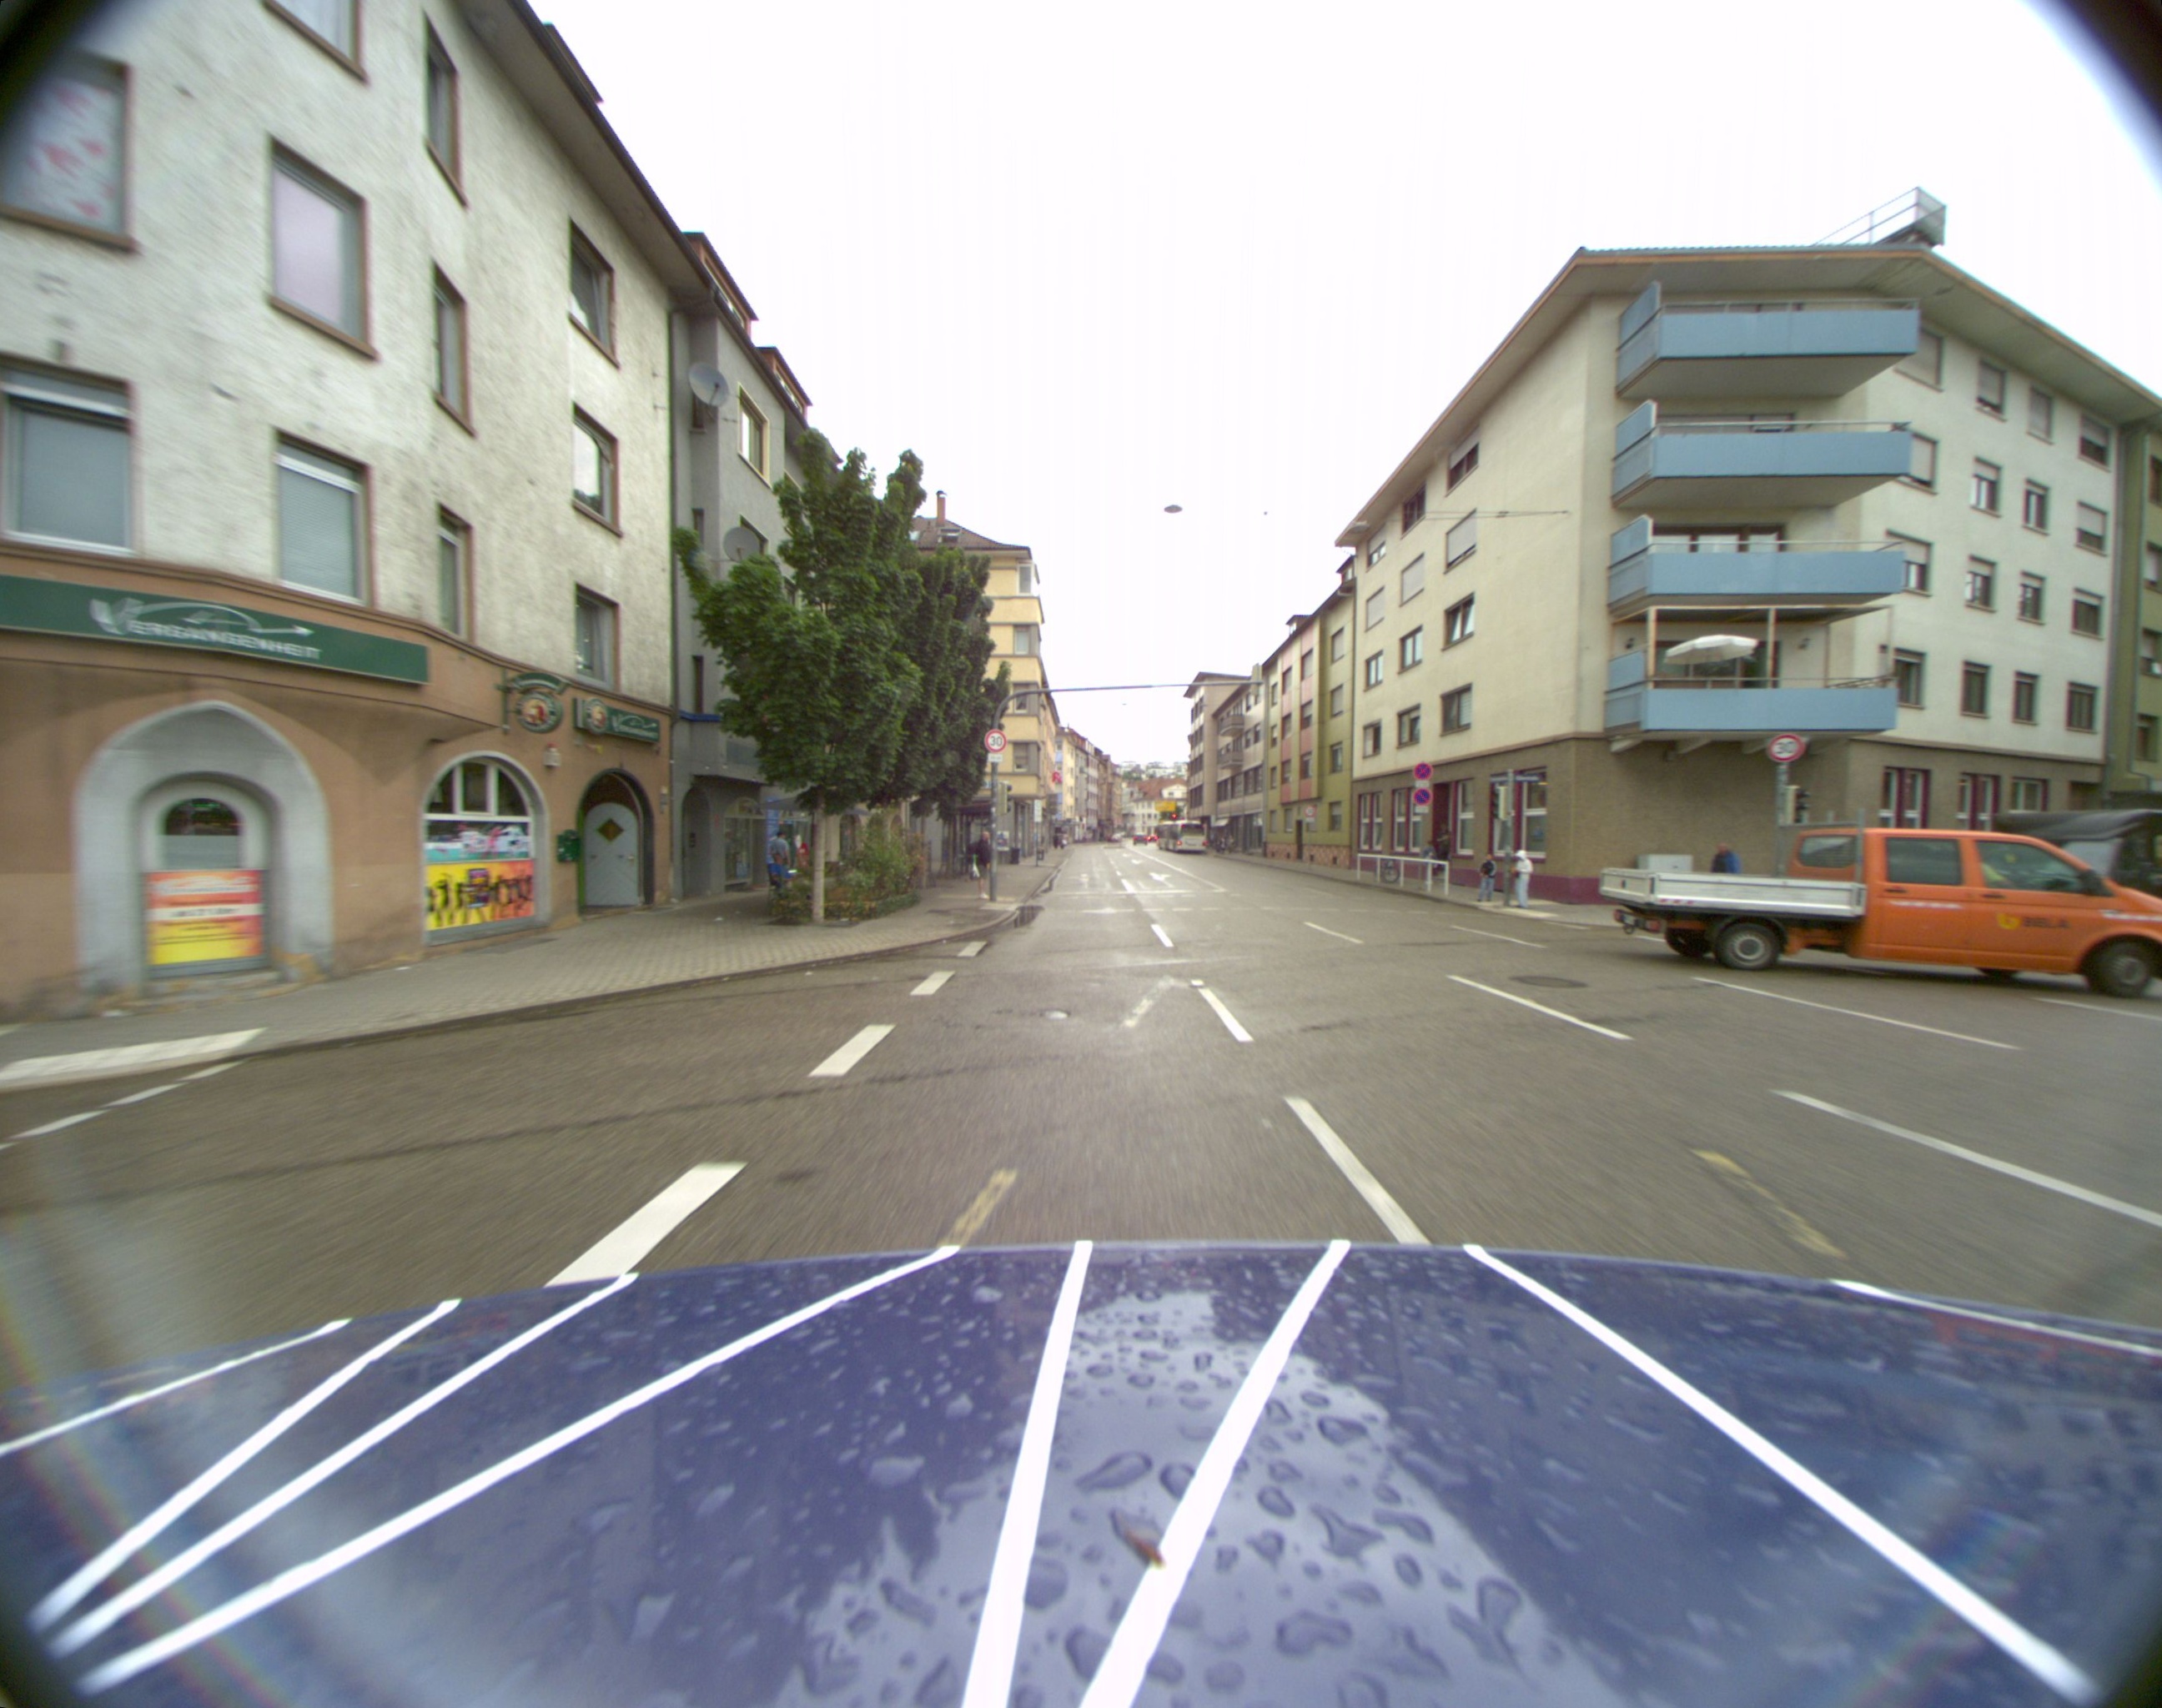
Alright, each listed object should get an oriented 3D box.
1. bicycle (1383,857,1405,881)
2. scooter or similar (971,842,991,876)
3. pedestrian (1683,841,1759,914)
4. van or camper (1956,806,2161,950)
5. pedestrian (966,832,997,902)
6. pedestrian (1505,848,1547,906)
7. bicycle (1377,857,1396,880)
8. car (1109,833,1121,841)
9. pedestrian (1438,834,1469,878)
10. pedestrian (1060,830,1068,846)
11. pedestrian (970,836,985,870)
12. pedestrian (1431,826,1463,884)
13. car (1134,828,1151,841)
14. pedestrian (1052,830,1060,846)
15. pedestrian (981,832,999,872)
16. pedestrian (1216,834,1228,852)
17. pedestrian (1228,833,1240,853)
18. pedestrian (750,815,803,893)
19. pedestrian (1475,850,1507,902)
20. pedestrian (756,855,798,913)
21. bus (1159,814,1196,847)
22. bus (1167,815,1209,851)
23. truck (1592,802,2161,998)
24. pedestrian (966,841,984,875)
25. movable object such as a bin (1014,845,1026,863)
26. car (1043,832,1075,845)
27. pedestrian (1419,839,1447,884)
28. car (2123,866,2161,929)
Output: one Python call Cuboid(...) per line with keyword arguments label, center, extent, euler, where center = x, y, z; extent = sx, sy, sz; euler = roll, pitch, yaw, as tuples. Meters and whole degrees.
Cuboid(label="bicycle", center=(11.780, 0.557, 28.619), extent=(0.265, 0.779, 1.421), euler=(1, 3, 1))
Cuboid(label="scooter or similar", center=(-3.718, 0.162, 28.262), extent=(0.512, 1.166, 1.548), euler=(1, 3, 1))
Cuboid(label="pedestrian", center=(15.917, 0.558, 18.934), extent=(0.932, 1.744, 1.021), euler=(1, 3, 2))
Cuboid(label="van or camper", center=(21.985, 0.368, 16.517), extent=(6.491, 2.715, 1.995), euler=(-1, 3, -25))
Cuboid(label="pedestrian", center=(-2.671, 0.331, 20.466), extent=(0.735, 1.831, 0.630), euler=(1, 3, -1))
Cuboid(label="pedestrian", center=(11.511, 0.584, 19.666), extent=(0.644, 1.450, 0.660), euler=(1, 3, -1))
Cuboid(label="bicycle", center=(11.480, 0.549, 28.563), extent=(0.265, 0.779, 1.110), euler=(1, 3, 1))
Cuboid(label="car", center=(6.382, -3.142, 141.255), extent=(1.747, 1.361, 4.316), euler=(1, 2, 9))
Cuboid(label="pedestrian", center=(13.473, 0.055, 27.474), extent=(0.775, 1.569, 0.588), euler=(1, 3, 0))
Cuboid(label="pedestrian", center=(-1.674, -1.600, 76.552), extent=(0.780, 1.551, 0.782), euler=(1, 3, -1))
Cuboid(label="pedestrian", center=(-4.253, -0.042, 31.301), extent=(0.535, 1.343, 0.596), euler=(1, 3, 0))
Cuboid(label="pedestrian", center=(13.461, 0.021, 27.957), extent=(0.713, 2.088, 0.730), euler=(1, 3, -2))
Cuboid(label="car", center=(8.460, -2.705, 105.000), extent=(1.936, 1.748, 4.570), euler=(1, 3, -1))
Cuboid(label="pedestrian", center=(-2.529, -1.607, 76.613), extent=(0.770, 1.551, 0.876), euler=(1, 3, -1))
Cuboid(label="pedestrian", center=(-3.941, -0.077, 32.934), extent=(0.620, 1.690, 0.656), euler=(1, 3, 5))
Cuboid(label="pedestrian", center=(11.811, -0.913, 63.634), extent=(0.801, 1.527, 0.711), euler=(1, 3, 1))
Cuboid(label="pedestrian", center=(12.743, -0.945, 63.343), extent=(0.839, 1.606, 0.711), euler=(1, 3, 1))
Cuboid(label="pedestrian", center=(-8.123, -0.024, 20.322), extent=(0.899, 2.003, 1.199), euler=(1, 3, 0))
Cuboid(label="pedestrian", center=(11.454, 0.616, 21.247), extent=(0.546, 1.380, 0.649), euler=(-2, 3, 3))
Cuboid(label="pedestrian", center=(-6.536, 0.640, 16.344), extent=(0.666, 1.183, 0.556), euler=(1, 3, -1))
Cuboid(label="bus", center=(10.020, -2.555, 79.546), extent=(2.765, 3.171, 8.907), euler=(1, 3, 1))
Cuboid(label="bus", center=(9.914, -2.094, 71.563), extent=(2.732, 3.171, 9.288), euler=(1, 3, 1))
Cuboid(label="truck", center=(10.287, 0.410, 10.112), extent=(5.302, 2.118, 2.410), euler=(2, 3, 21))
Cuboid(label="pedestrian", center=(-4.261, 0.144, 30.516), extent=(0.607, 1.328, 0.624), euler=(1, 3, 0))
Cuboid(label="movable object such as a bin", center=(-3.291, 0.019, 40.883), extent=(0.601, 0.921, 0.704), euler=(1, 3, 1))
Cuboid(label="car", center=(-2.835, -2.050, 98.033), extent=(3.833, 1.565, 1.936), euler=(1, 3, 6))
Cuboid(label="pedestrian", center=(12.448, 0.246, 26.896), extent=(0.576, 1.545, 0.739), euler=(1, 3, -2))
Cuboid(label="car", center=(29.031, 1.141, 19.578), extent=(3.708, 1.491, 1.865), euler=(-1, 3, -26))
